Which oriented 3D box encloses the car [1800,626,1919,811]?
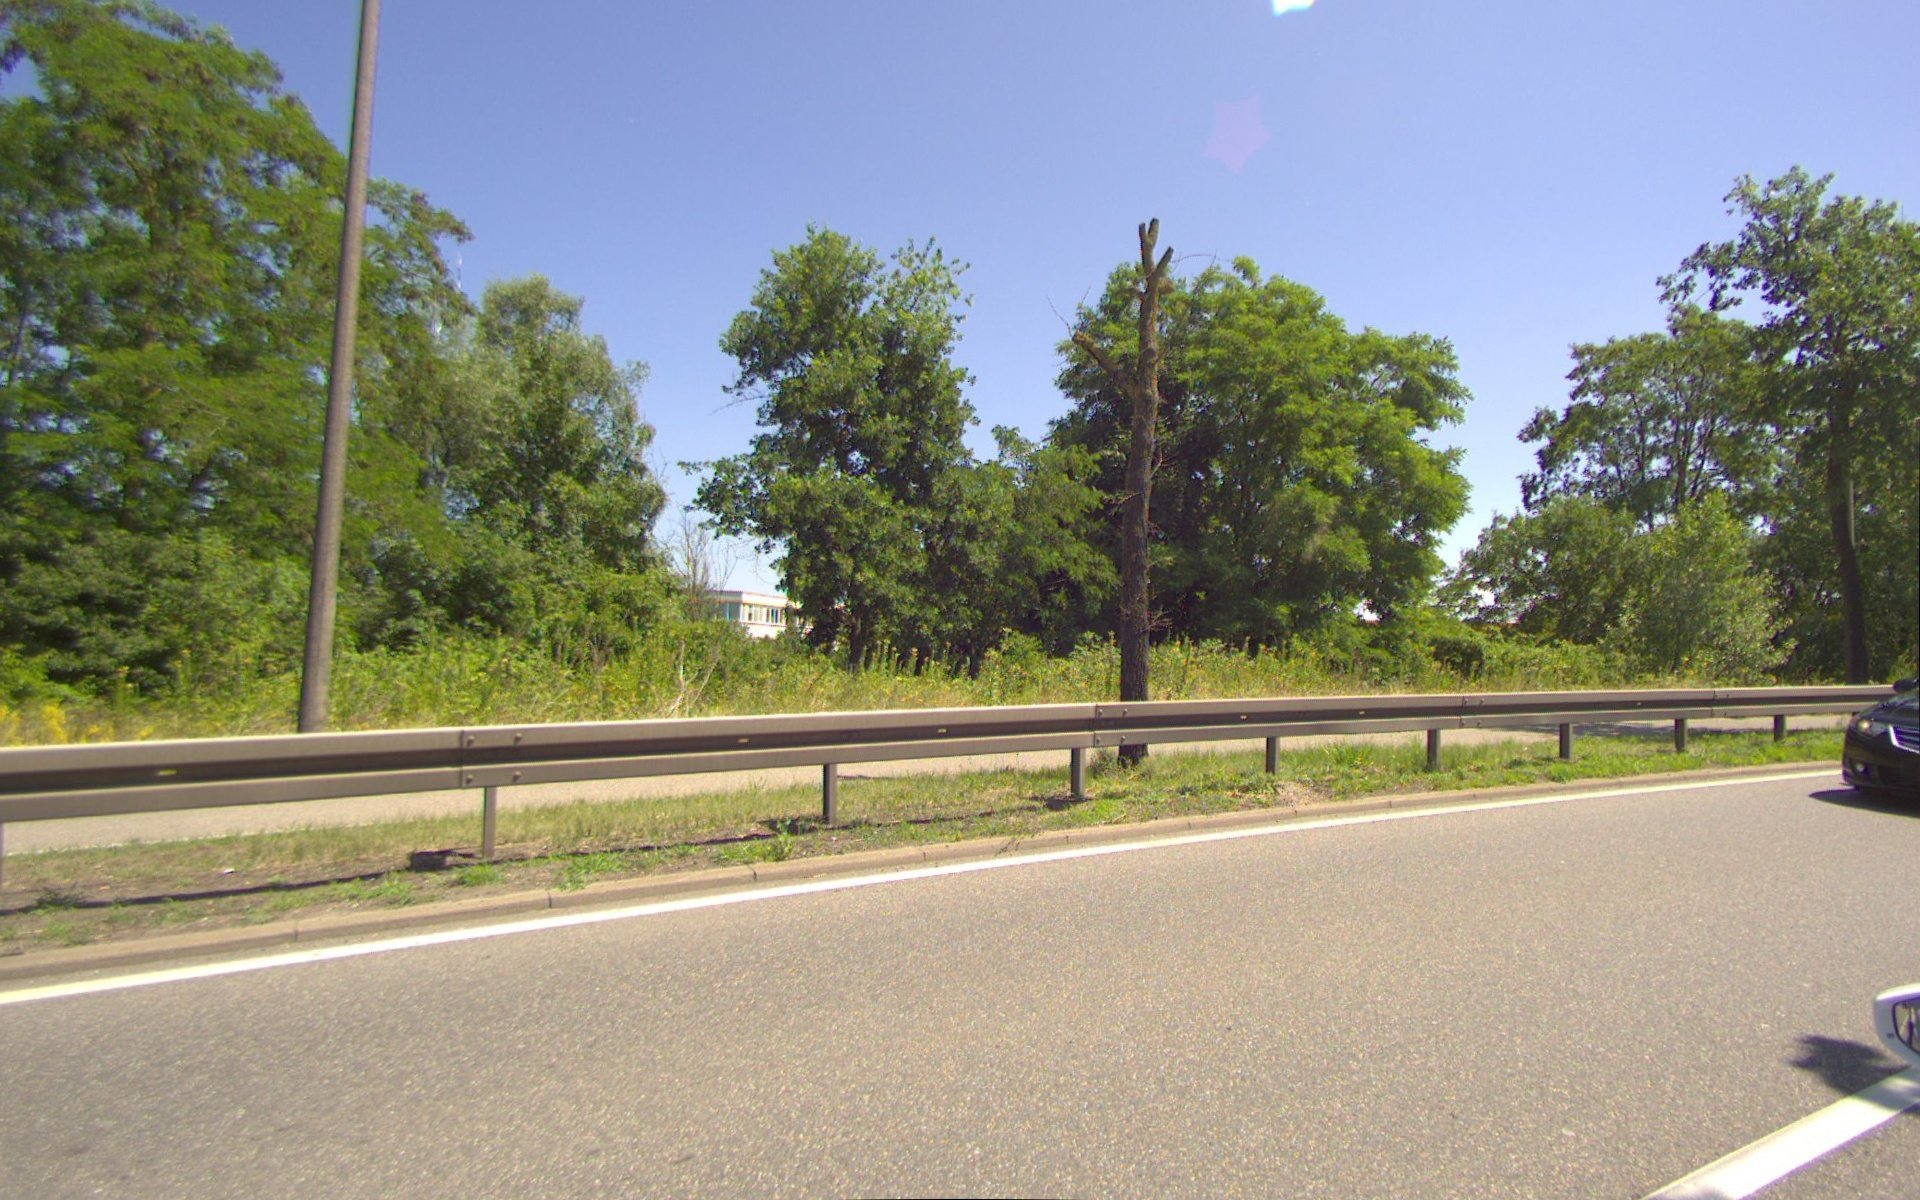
[{"bbox_3d":[9.526,0.981,8.685,4.199,1.440,1.855,1,0,-25],"label":"car"}]
